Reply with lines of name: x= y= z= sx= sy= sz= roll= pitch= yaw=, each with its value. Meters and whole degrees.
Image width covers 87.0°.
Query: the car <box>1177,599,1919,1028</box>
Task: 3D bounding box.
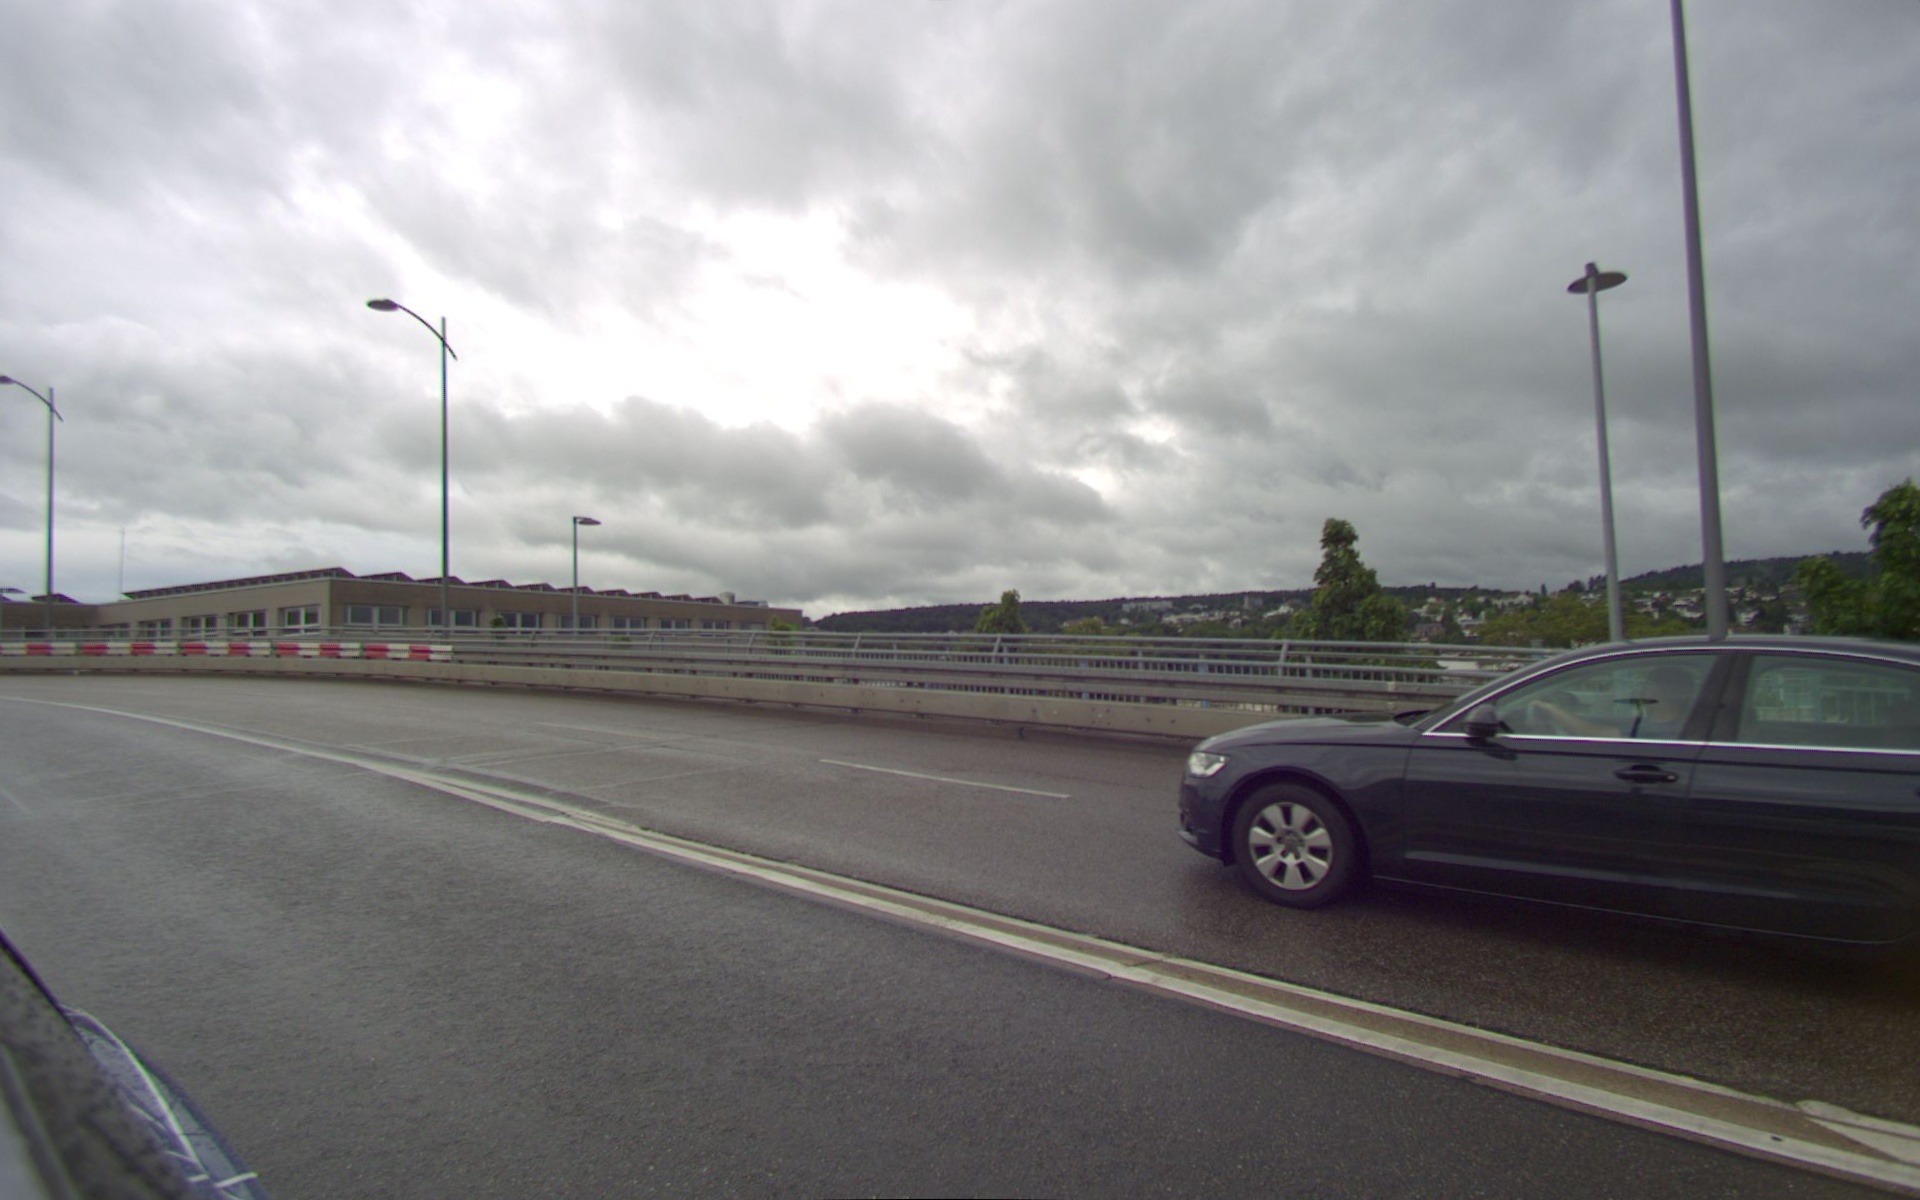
car: x=3.522 y=0.806 z=4.773 sx=4.590 sy=1.538 sz=1.814 roll=-1 pitch=-3 yaw=40
